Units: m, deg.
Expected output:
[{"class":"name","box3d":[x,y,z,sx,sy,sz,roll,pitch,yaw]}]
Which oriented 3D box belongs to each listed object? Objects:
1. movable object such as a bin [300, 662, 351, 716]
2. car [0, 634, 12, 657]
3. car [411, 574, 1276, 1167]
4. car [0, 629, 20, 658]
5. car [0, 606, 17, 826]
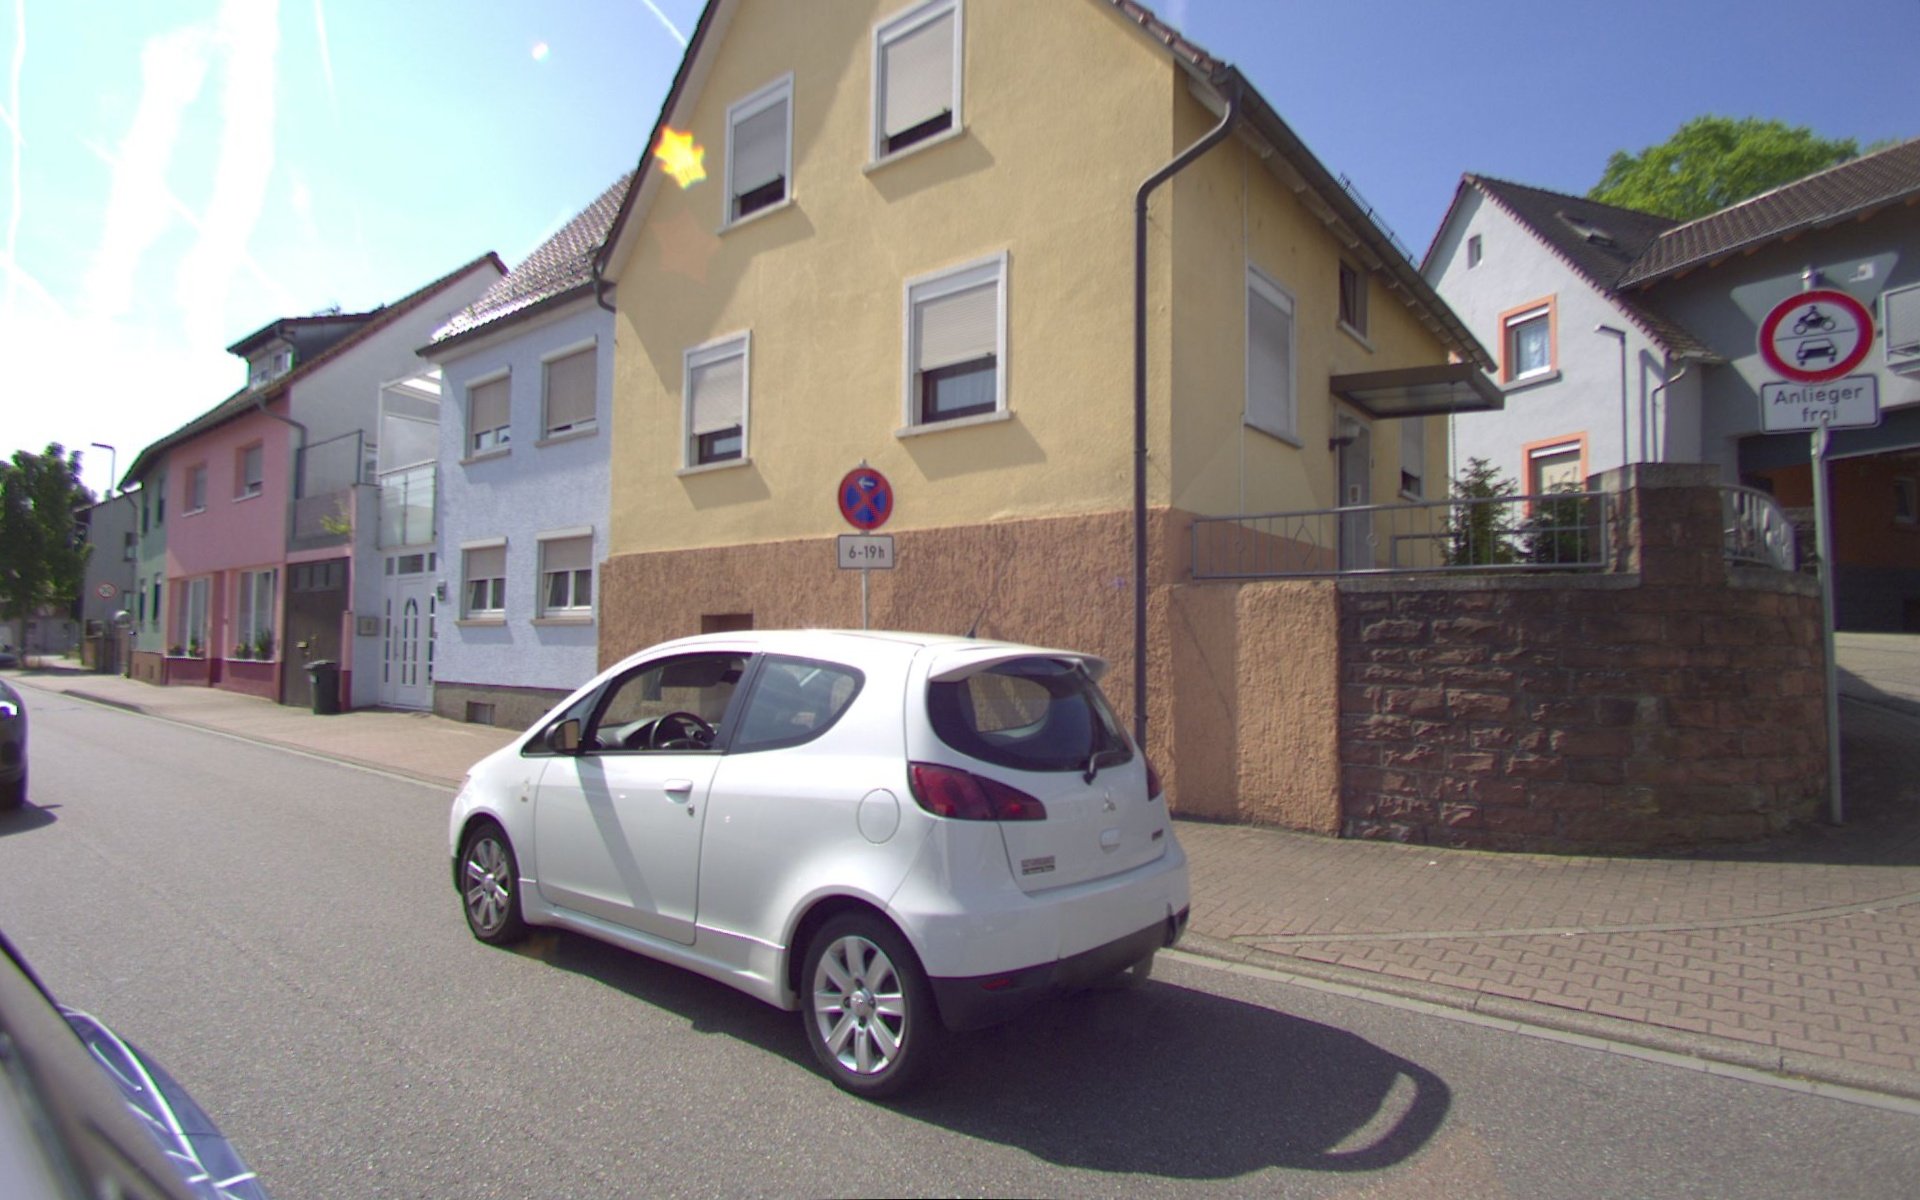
[{"class":"movable object such as a bin","box3d":[-11.285,1.579,17.999,0.599,0.886,0.623,-1,0,42]},{"class":"car","box3d":[-60.846,2.875,62.858,1.493,1.419,3.601,0,0,-19]},{"class":"car","box3d":[-0.749,0.784,4.568,3.808,1.554,1.712,-2,-4,40]},{"class":"car","box3d":[-66.074,2.980,68.542,1.916,1.866,4.524,0,0,-19]},{"class":"car","box3d":[-9.027,0.878,8.162,4.289,1.585,1.715,-2,-1,42]}]
